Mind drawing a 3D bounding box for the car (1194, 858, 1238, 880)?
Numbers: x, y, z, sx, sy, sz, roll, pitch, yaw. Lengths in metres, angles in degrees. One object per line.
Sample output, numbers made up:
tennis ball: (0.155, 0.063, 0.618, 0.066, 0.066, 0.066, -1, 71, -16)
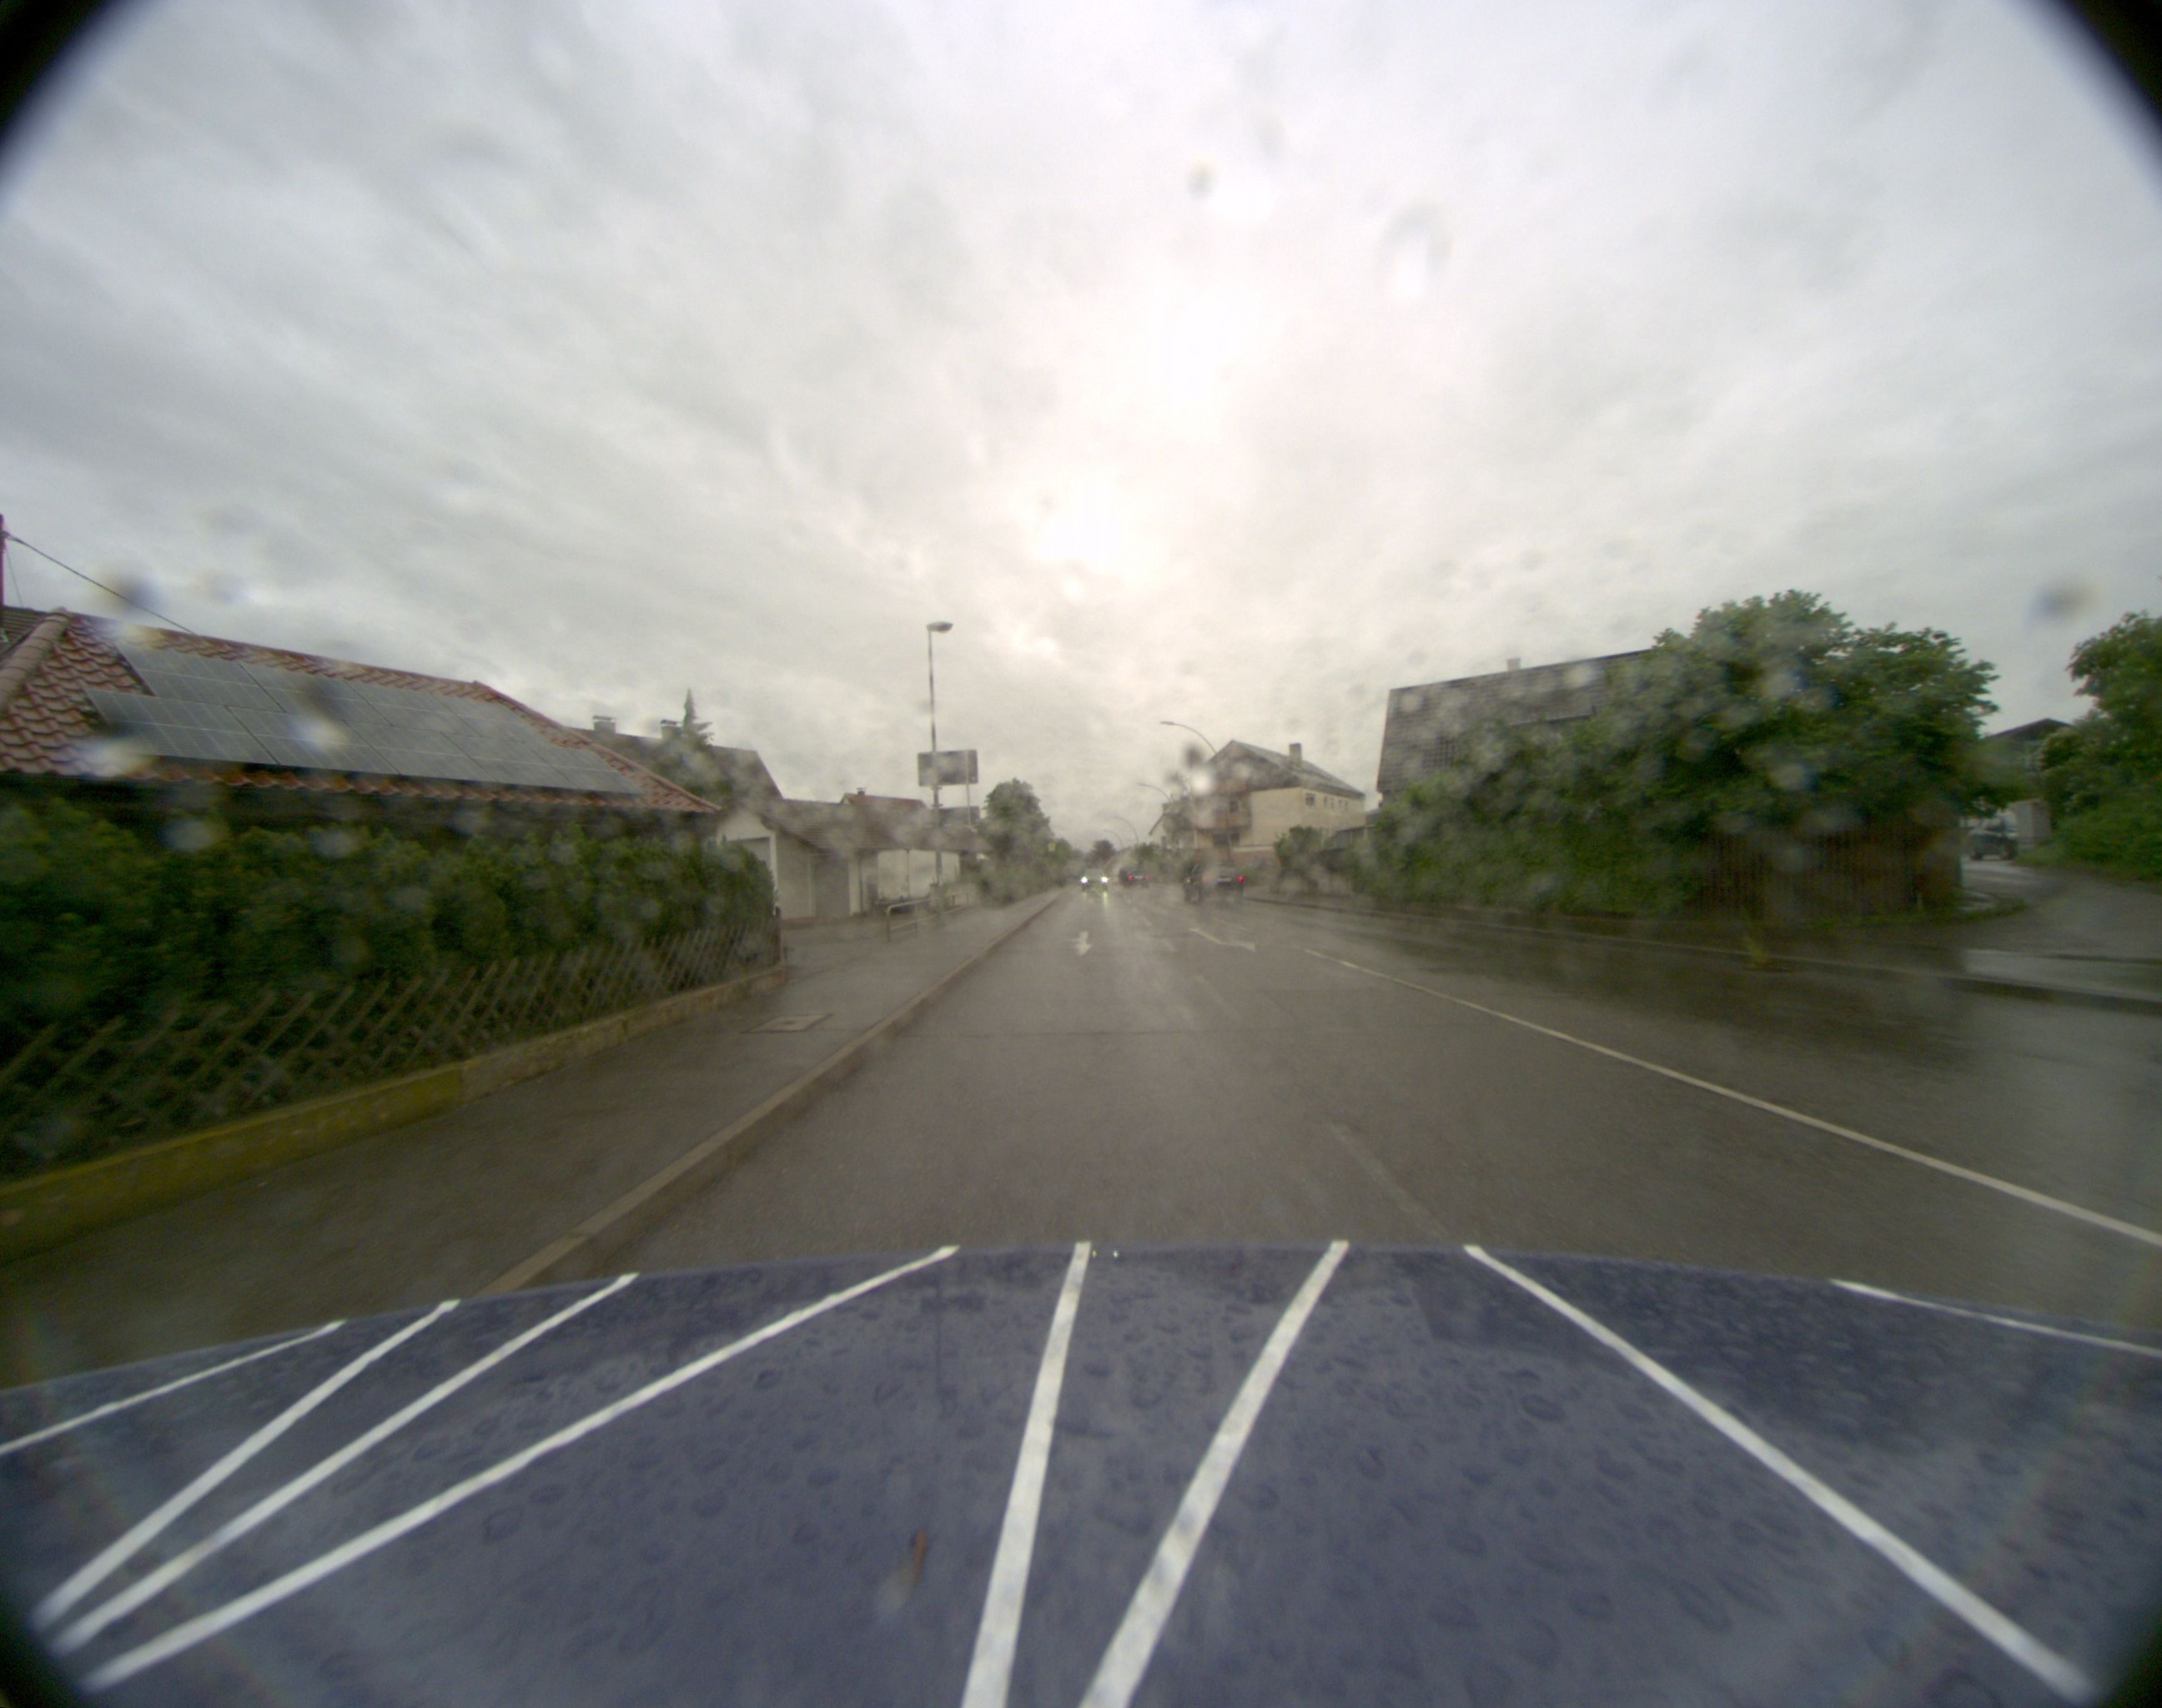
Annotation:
car: (10.447, 1.167, 58.553, 1.864, 1.510, 4.008, -2, 0, 34)

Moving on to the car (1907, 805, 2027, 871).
car: (23.508, -0.421, 20.291, 1.706, 1.579, 3.669, -2, 0, 43)

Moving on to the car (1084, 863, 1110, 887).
car: (1.085, 1.440, 53.129, 1.687, 1.486, 3.939, -2, 0, 1)

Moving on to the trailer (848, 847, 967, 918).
trailer: (-6.622, 1.024, 29.535, 1.645, 2.502, 4.712, -3, -1, 30)

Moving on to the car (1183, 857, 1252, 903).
car: (5.491, 1.011, 31.177, 1.998, 1.658, 4.416, -2, 0, 0)

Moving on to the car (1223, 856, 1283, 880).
car: (11.909, 0.976, 52.686, 3.661, 1.510, 1.758, -2, 0, 36)

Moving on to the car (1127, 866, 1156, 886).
car: (4.794, 1.726, 60.865, 1.998, 1.396, 4.624, -1, 0, 1)
